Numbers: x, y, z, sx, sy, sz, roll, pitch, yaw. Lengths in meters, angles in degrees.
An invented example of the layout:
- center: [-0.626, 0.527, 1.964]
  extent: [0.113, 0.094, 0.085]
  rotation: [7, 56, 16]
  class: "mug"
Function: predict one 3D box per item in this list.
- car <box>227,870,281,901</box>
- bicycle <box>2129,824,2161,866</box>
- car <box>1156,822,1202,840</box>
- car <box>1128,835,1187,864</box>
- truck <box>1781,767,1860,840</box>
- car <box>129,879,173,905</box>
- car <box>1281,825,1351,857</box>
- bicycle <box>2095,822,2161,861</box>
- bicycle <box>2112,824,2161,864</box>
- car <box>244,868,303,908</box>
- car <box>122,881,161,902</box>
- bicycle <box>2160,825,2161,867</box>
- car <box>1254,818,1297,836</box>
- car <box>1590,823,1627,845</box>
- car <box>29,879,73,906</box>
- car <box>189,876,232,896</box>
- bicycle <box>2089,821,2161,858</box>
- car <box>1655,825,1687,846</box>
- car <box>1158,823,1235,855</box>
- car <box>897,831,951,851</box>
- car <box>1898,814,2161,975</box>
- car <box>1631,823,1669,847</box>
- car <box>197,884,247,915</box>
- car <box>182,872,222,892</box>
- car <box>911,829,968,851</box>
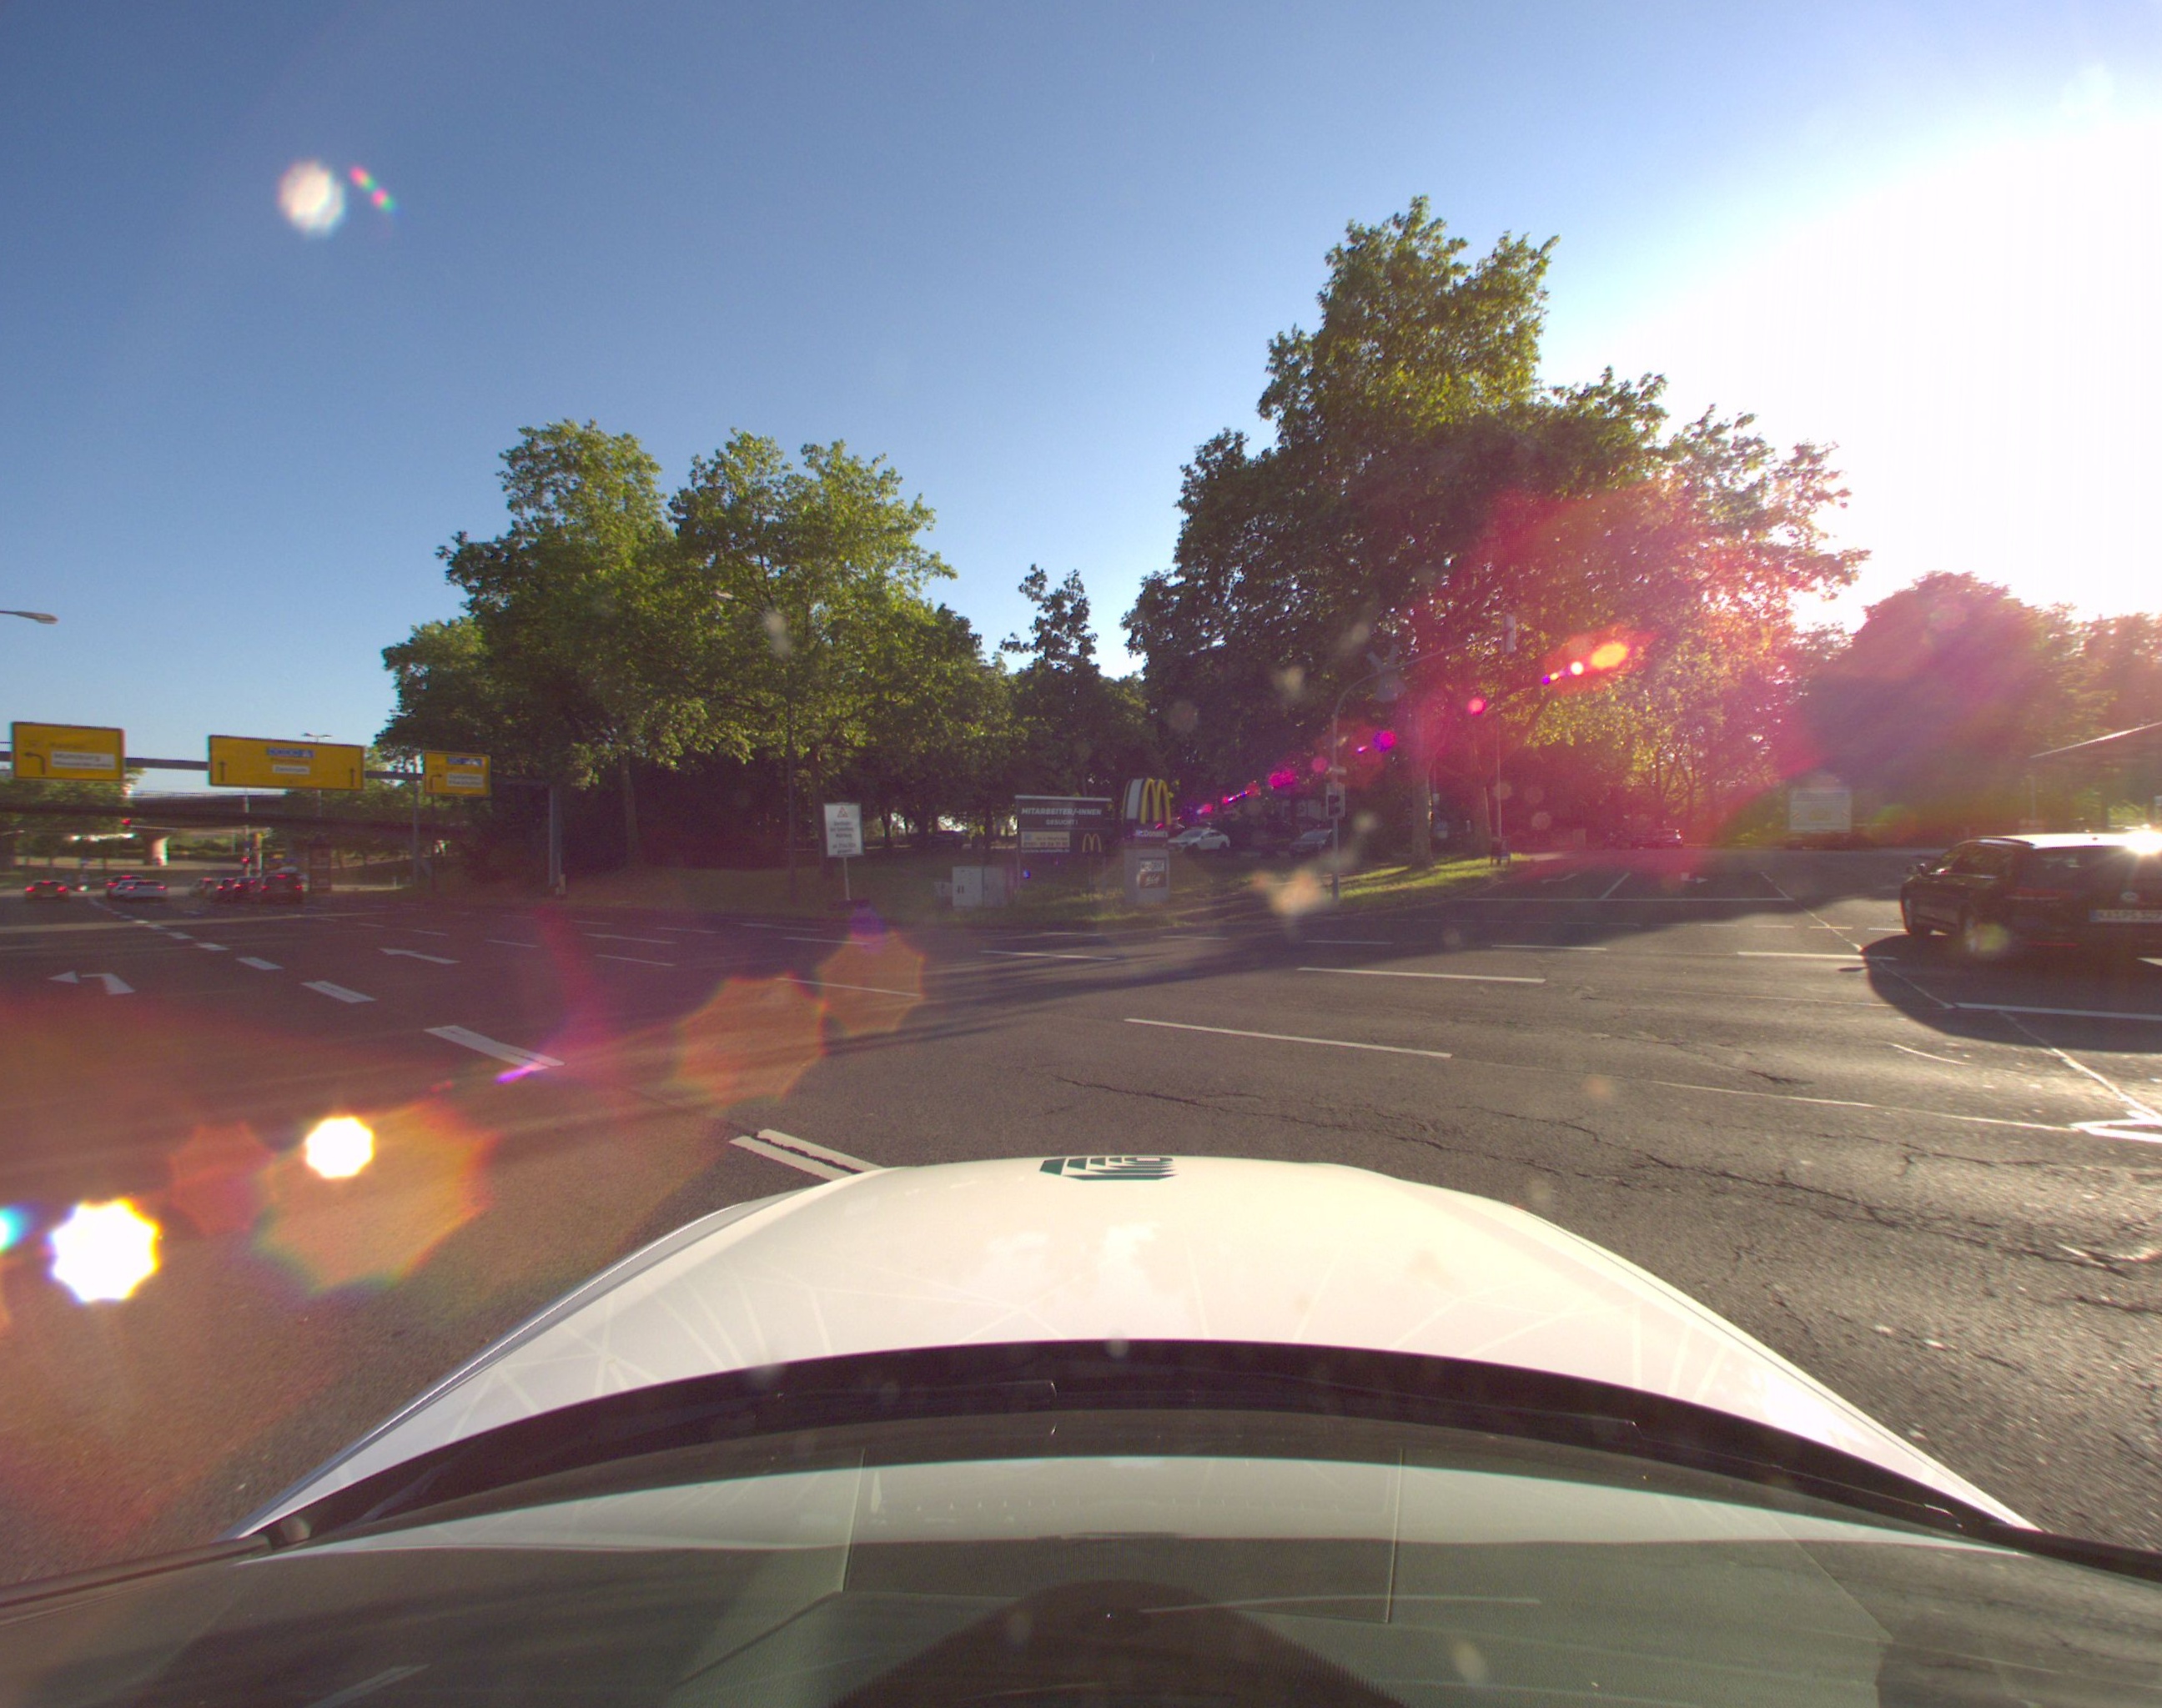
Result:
- center: [-50.572, 1.875, 49.758]
  extent: [4.186, 1.749, 1.810]
  rotation: [-1, 1, 38]
  class: "car"
- center: [27.756, -0.248, 20.333]
  extent: [1.869, 1.038, 0.547]
  rotation: [-1, 1, 39]
  class: "bicycle"
- center: [9.281, -2.141, 77.262]
  extent: [3.953, 1.552, 1.817]
  rotation: [-2, 1, 20]
  class: "car"
- center: [4.836, -0.295, 51.079]
  extent: [1.804, 1.687, 4.253]
  rotation: [-1, 1, 35]
  class: "car"
- center: [44.268, -2.931, 49.049]
  extent: [3.154, 3.875, 11.170]
  rotation: [-1, 1, 41]
  class: "truck"
- center: [-61.814, 2.476, 54.125]
  extent: [4.136, 1.565, 1.679]
  rotation: [-1, 1, 38]
  class: "car"
- center: [12.444, -0.716, 42.937]
  extent: [2.017, 1.574, 4.430]
  rotation: [-1, 1, 38]
  class: "car"
- center: [29.766, -0.355, 22.650]
  extent: [1.869, 1.038, 0.547]
  rotation: [-1, 1, 43]
  class: "bicycle"
- center: [29.100, -0.283, 21.735]
  extent: [1.869, 1.038, 0.547]
  rotation: [-1, 1, 43]
  class: "bicycle"
- center: [-45.582, 1.868, 45.973]
  extent: [3.948, 2.105, 1.810]
  rotation: [-1, 1, 38]
  class: "car"
- center: [-67.190, 2.650, 58.220]
  extent: [4.354, 1.432, 1.758]
  rotation: [-1, -2, 40]
  class: "car"
- center: [27.443, -0.218, 19.488]
  extent: [1.869, 1.038, 0.547]
  rotation: [-1, 1, 39]
  class: "bicycle"
- center: [19.265, -2.674, 80.518]
  extent: [3.954, 1.552, 1.817]
  rotation: [-2, 1, 19]
  class: "car"
- center: [39.047, -1.511, 60.206]
  extent: [1.828, 1.552, 4.026]
  rotation: [-1, 1, 39]
  class: "car"
- center: [-66.844, 2.493, 52.851]
  extent: [3.948, 1.565, 1.679]
  rotation: [-1, 1, 38]
  class: "car"
- center: [-65.819, 2.398, 61.574]
  extent: [4.418, 1.382, 1.810]
  rotation: [-1, 1, 38]
  class: "car"
- center: [30.917, -0.412, 23.731]
  extent: [1.869, 1.038, 0.547]
  rotation: [-1, 1, 43]
  class: "bicycle"
- center: [47.704, -1.513, 65.780]
  extent: [1.828, 1.552, 4.026]
  rotation: [-1, 1, 39]
  class: "car"
- center: [6.808, -0.918, 47.711]
  extent: [1.975, 1.706, 4.930]
  rotation: [-1, 1, 43]
  class: "car"
- center: [-13.245, -1.111, 68.747]
  extent: [4.019, 1.552, 1.787]
  rotation: [-2, 1, -37]
  class: "car"
- center: [11.520, 0.330, 9.806]
  extent: [1.807, 1.555, 4.286]
  rotation: [-1, 1, 38]
  class: "car"
- center: [39.867, -1.363, 57.011]
  extent: [1.828, 1.552, 4.026]
  rotation: [-1, 1, 39]
  class: "car"
- center: [-55.881, 2.927, 52.947]
  extent: [3.948, 1.749, 1.810]
  rotation: [-1, 1, 38]
  class: "car"
- center: [-69.587, 2.209, 64.467]
  extent: [3.948, 1.442, 1.810]
  rotation: [-1, 1, 38]
  class: "car"
- center: [-10.760, -1.089, 62.151]
  extent: [1.785, 1.552, 4.024]
  rotation: [-1, 1, 44]
  class: "car"
